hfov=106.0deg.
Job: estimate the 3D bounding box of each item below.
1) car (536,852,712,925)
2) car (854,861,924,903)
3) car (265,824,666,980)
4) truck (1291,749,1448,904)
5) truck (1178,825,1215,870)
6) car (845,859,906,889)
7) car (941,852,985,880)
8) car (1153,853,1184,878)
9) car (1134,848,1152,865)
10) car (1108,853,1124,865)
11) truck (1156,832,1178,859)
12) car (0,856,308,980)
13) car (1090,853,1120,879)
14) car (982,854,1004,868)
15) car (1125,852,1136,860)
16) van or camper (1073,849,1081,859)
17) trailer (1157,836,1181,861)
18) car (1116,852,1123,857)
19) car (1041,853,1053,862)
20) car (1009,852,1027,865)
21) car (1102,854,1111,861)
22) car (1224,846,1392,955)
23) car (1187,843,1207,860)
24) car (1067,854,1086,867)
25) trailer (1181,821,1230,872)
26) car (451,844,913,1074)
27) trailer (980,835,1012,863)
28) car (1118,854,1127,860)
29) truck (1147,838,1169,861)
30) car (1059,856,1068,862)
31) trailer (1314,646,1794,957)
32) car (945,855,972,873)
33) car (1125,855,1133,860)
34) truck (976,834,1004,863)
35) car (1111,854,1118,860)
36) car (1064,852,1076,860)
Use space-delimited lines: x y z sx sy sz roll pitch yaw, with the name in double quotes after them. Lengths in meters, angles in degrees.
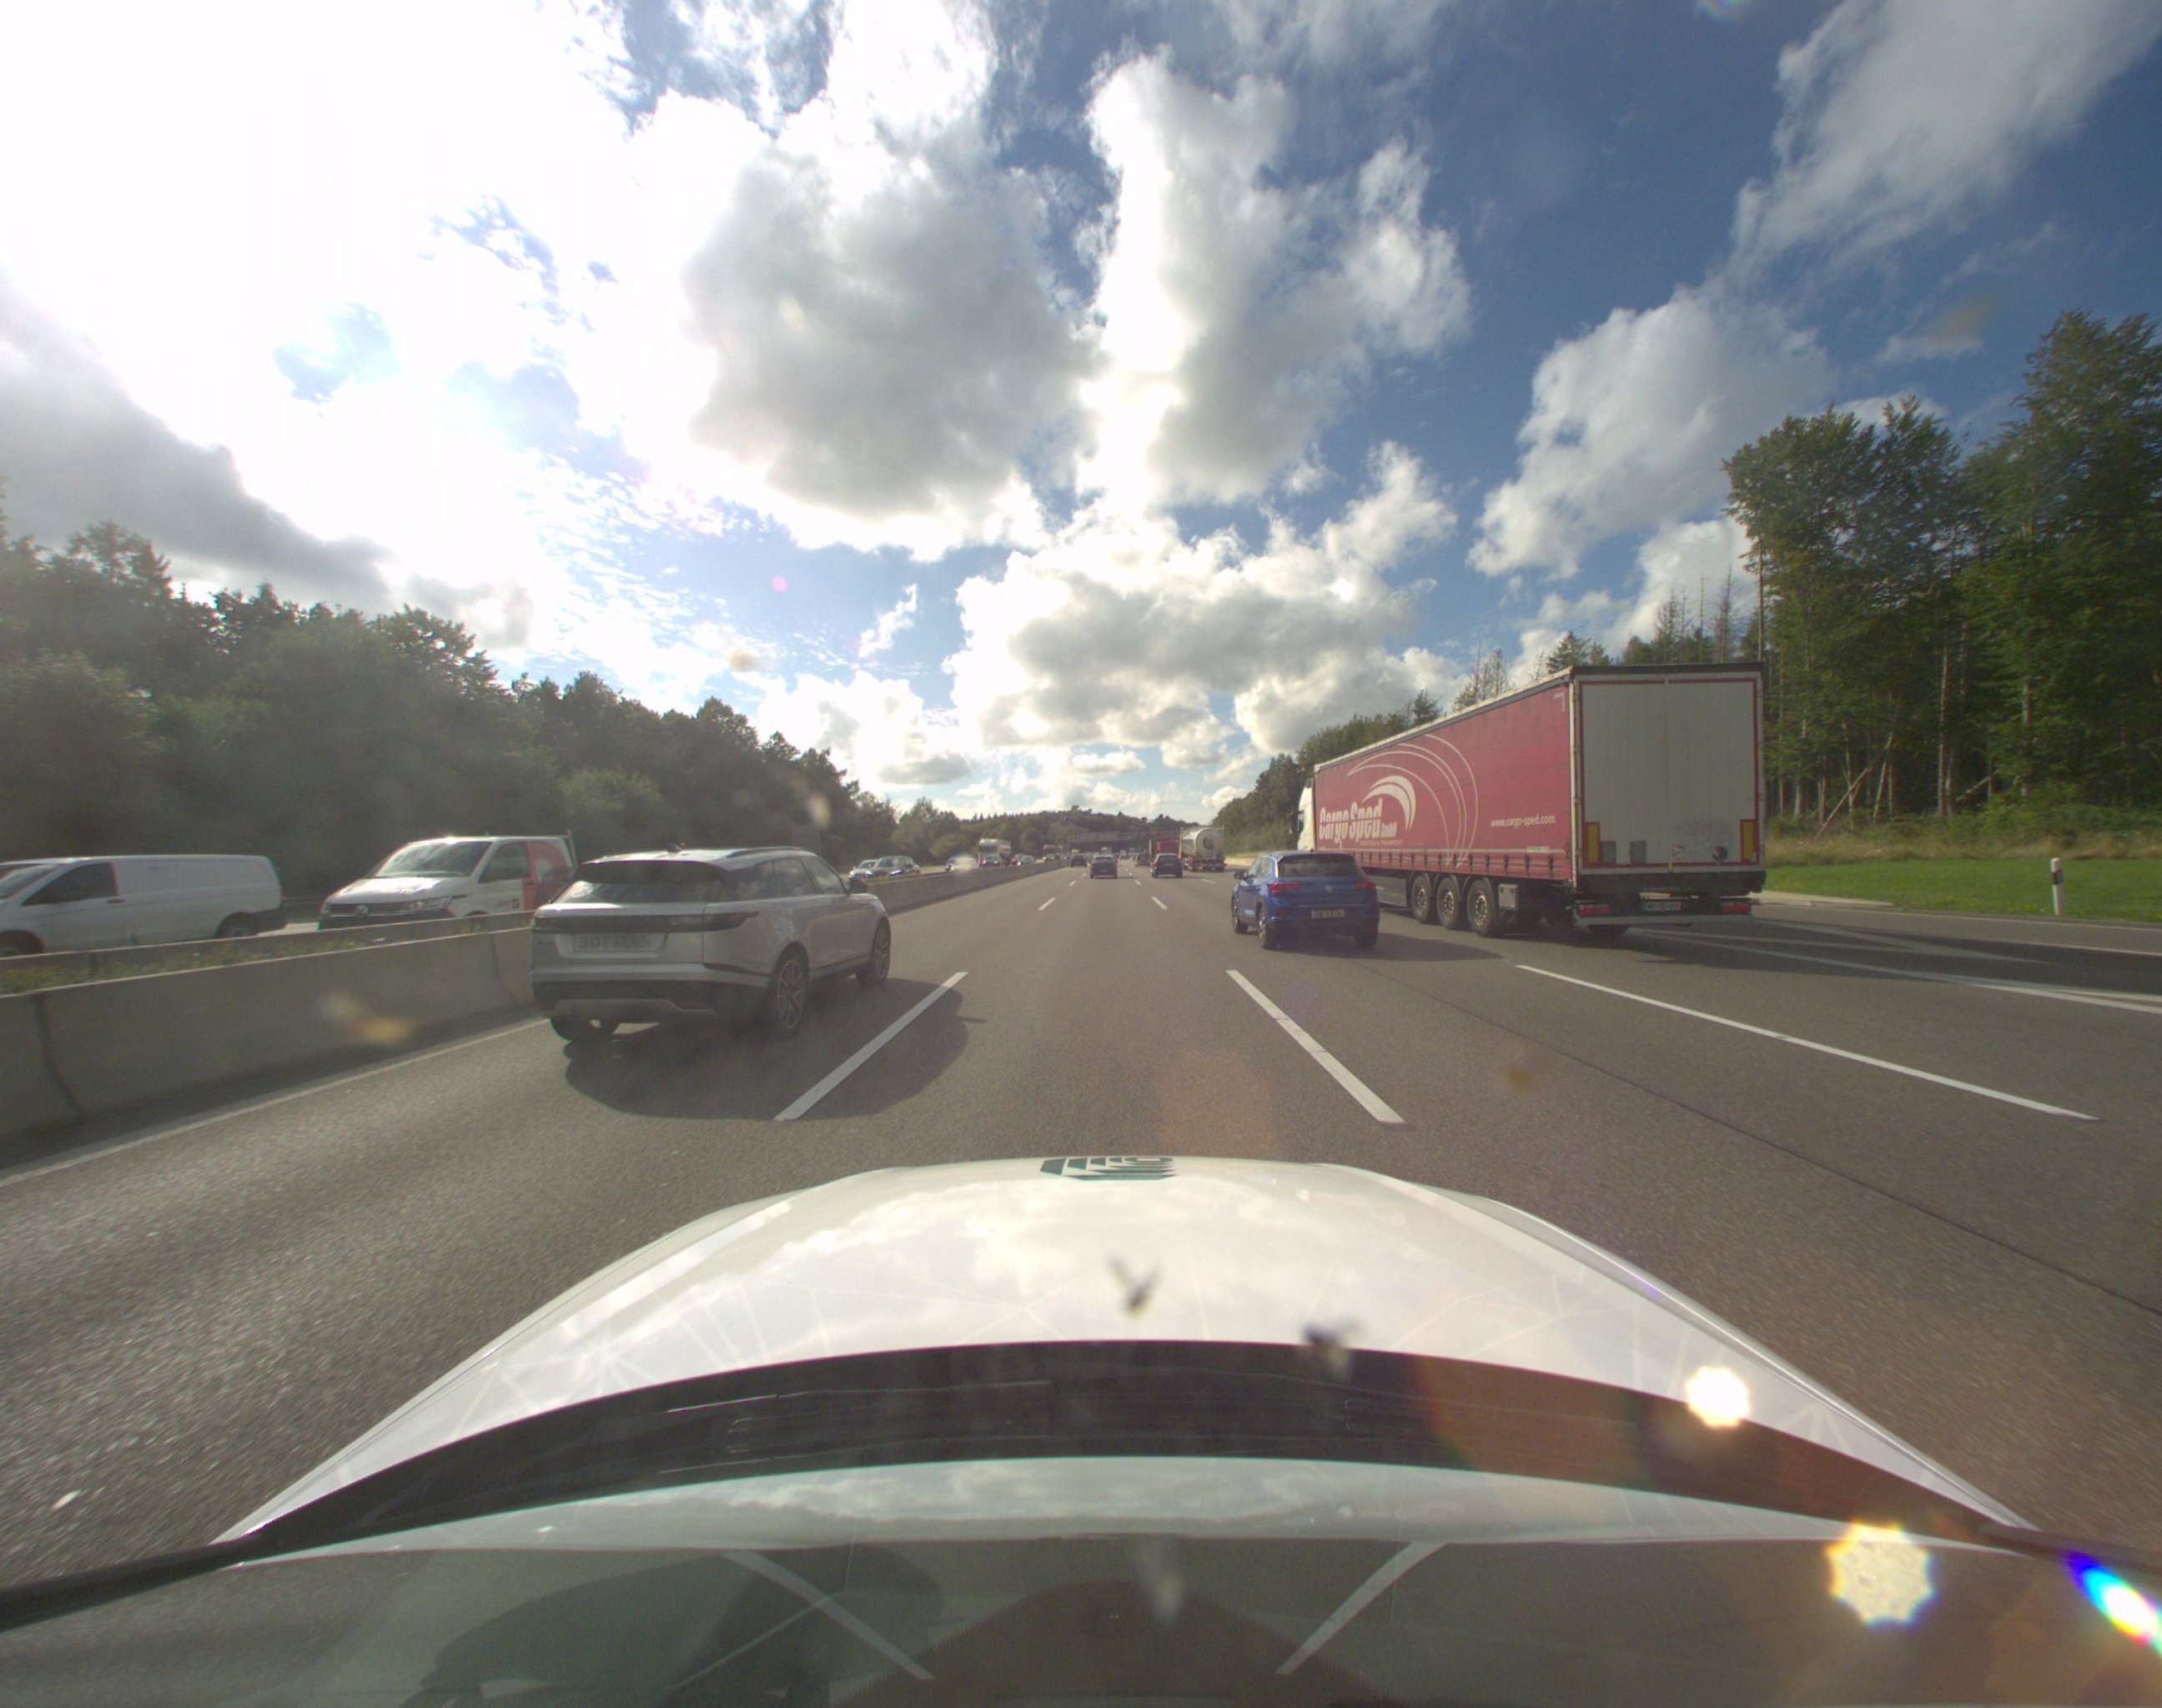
-12.992 0.891 23.633 1.986 1.805 5.128 -2 0 2 "car"
-8.456 1.204 36.227 1.905 1.640 4.244 -2 0 2 "car"
-9.799 0.642 13.904 2.150 2.013 5.826 -2 0 3 "car"
8.366 -0.728 24.393 2.763 4.045 5.776 -1 0 2 "truck"
10.367 -0.603 73.485 2.638 3.823 6.085 -2 0 2 "truck"
-11.629 1.086 46.456 1.986 1.484 5.134 -2 0 2 "car"
-8.445 0.829 58.687 2.163 1.878 4.983 -2 0 2 "car"
5.498 0.687 51.509 1.814 1.457 4.005 -2 0 4 "car"
7.198 0.291 94.827 1.886 1.856 4.102 0 0 2 "car"
4.485 0.579 103.443 1.814 1.457 4.004 -2 0 4 "car"
11.946 -1.191 114.106 2.699 3.718 5.822 -1 1 3 "truck"
-17.143 1.009 14.263 1.942 1.851 5.344 -2 0 2 "car"
1.525 0.748 52.189 1.816 1.546 4.001 -1 0 1 "car"
-10.184 0.788 94.631 1.852 1.619 4.750 -2 0 2 "car"
10.220 0.372 168.907 1.935 1.457 4.001 -2 0 1 "car"
-1.256 0.031 259.569 2.365 2.891 6.507 -2 0 1 "van or camper"
11.720 -0.788 109.071 2.699 3.231 9.740 -1 1 3 "trailer"
12.213 0.091 259.319 1.922 1.457 3.965 -2 0 1 "car"
-6.721 0.738 162.644 1.986 1.664 4.689 -2 0 2 "car"
-8.699 0.630 113.090 1.847 1.670 5.214 -3 0 2 "car"
6.532 0.879 205.721 2.068 1.457 4.003 -2 0 3 "car"
3.711 0.671 14.141 1.766 1.530 4.459 -2 0 2 "car"
13.476 -0.261 94.689 1.886 1.957 4.103 0 0 3 "car"
-0.477 0.718 97.115 1.934 1.457 4.003 -2 0 3 "car"
10.131 -0.566 67.647 2.638 3.767 11.867 -2 0 2 "trailer"
-3.376 0.737 8.417 1.998 1.616 5.303 -1 0 2 "car"
-12.490 -0.685 121.110 2.776 3.945 12.263 -1 0 3 "trailer"
10.281 0.752 201.335 2.069 1.457 4.001 -2 0 1 "car"
13.802 -0.804 146.498 3.106 3.935 10.416 -2 0 2 "truck"
-4.063 1.238 193.070 1.595 1.403 4.006 2 0 5 "car"
8.167 -0.703 17.569 2.763 4.045 13.720 -1 0 2 "trailer"
-11.059 0.923 73.751 1.623 1.512 4.001 -2 0 1 "car"
13.147 0.933 224.565 2.069 1.457 4.001 -2 0 1 "car"
-12.812 -0.726 115.267 2.776 3.945 6.450 -1 0 3 "truck"
9.765 0.847 236.894 1.922 1.457 4.393 -2 0 1 "car"
-2.196 0.394 165.478 2.147 1.700 5.353 -2 0 2 "car"
